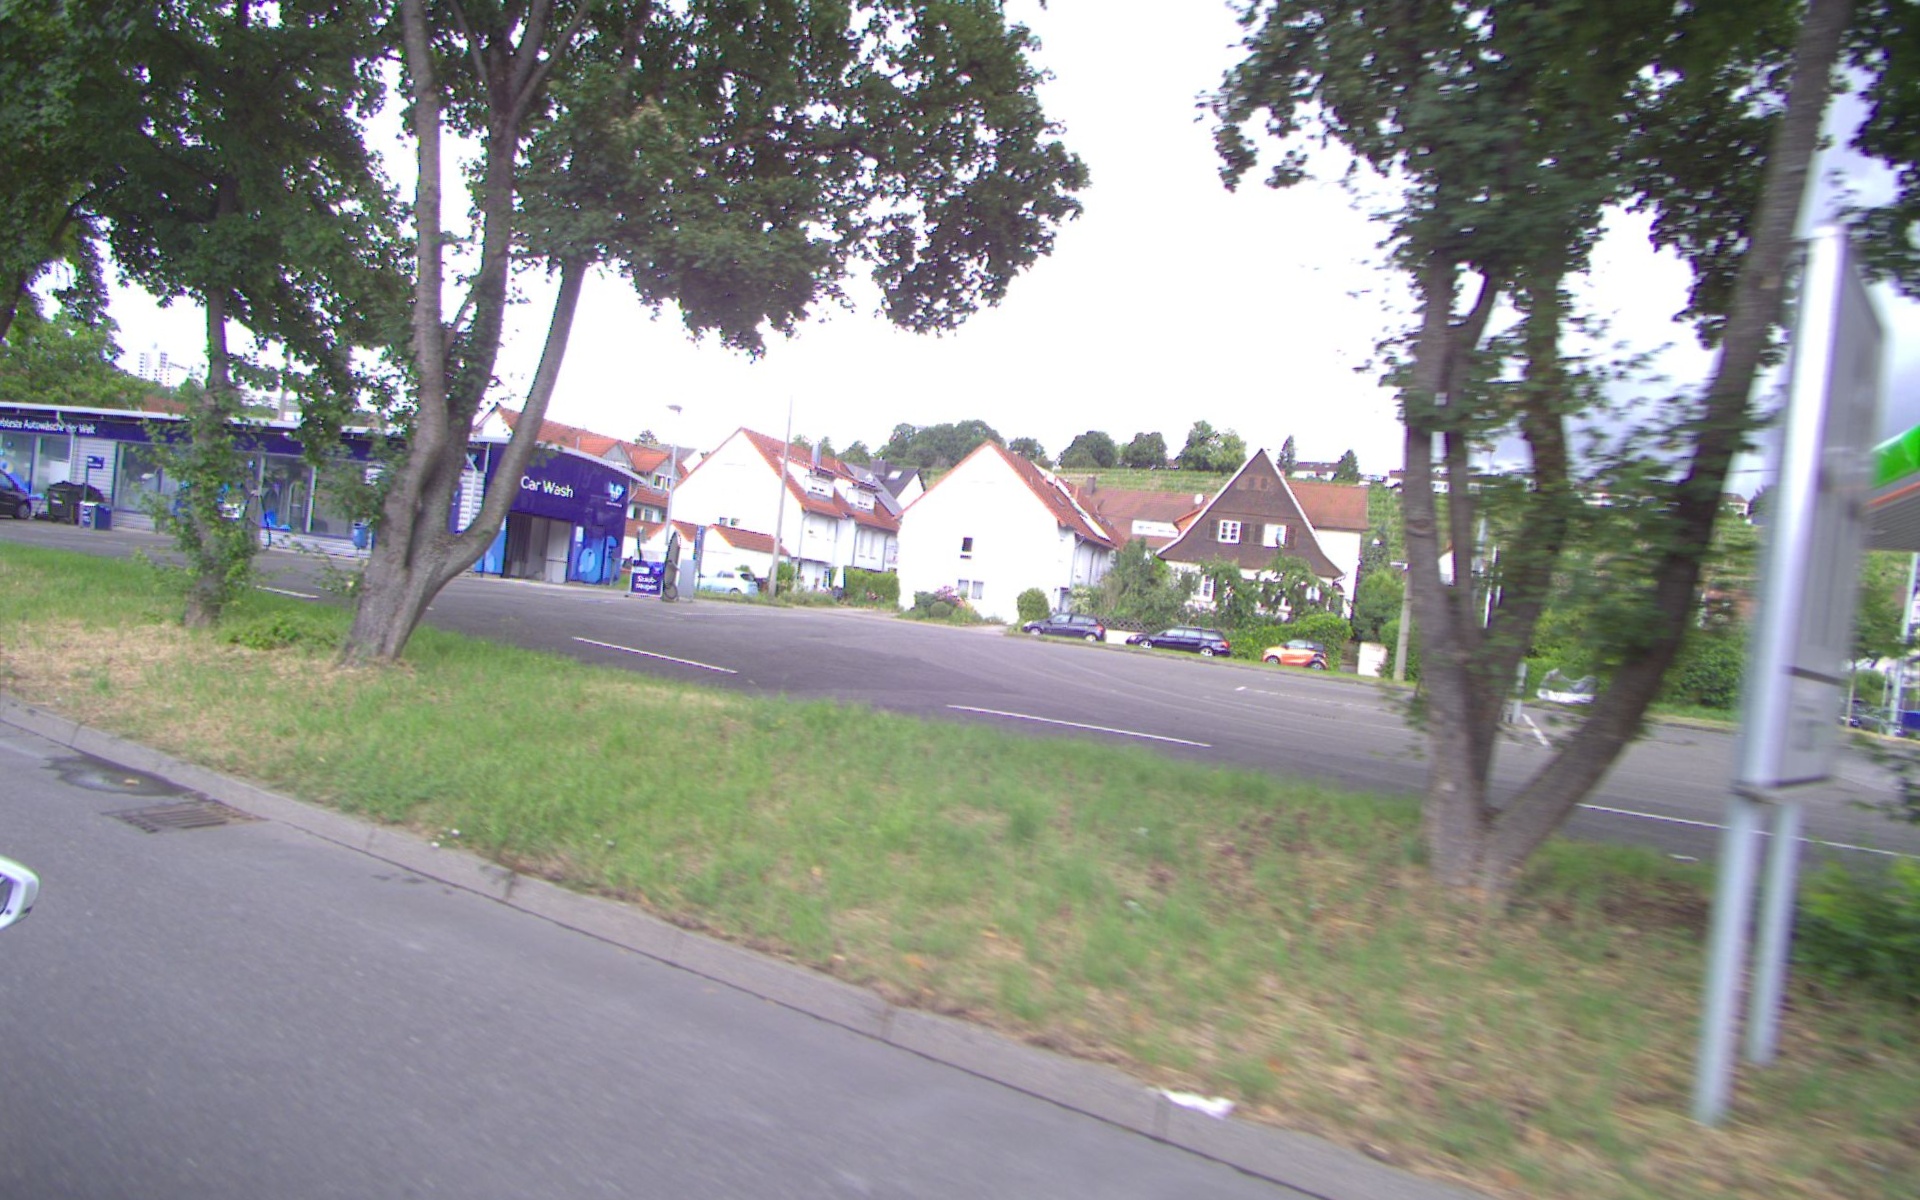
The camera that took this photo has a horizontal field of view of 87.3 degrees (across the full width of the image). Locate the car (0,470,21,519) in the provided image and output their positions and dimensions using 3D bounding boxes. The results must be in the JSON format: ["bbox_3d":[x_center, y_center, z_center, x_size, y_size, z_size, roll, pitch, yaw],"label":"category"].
[{"bbox_3d":[-36.244,-4.016,35.503,1.805,1.719,4.213,7,1,9],"label":"car"}]

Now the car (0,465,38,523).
[{"bbox_3d":[-32.927,-3.672,33.229,1.724,1.844,4.368,6,1,-16],"label":"car"}]

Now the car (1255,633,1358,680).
[{"bbox_3d":[15.007,2.454,43.759,3.924,1.481,2.003,7,-2,15],"label":"car"}]

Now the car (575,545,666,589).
[{"bbox_3d":[-17.443,-1.683,51.780,3.924,1.593,1.788,7,-2,11],"label":"car"}]

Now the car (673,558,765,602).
[{"bbox_3d":[-12.037,-0.990,50.350,3.924,1.593,1.788,7,-2,10],"label":"car"}]

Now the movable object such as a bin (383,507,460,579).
[{"bbox_3d":[-15.462,-1.636,28.905,1.429,1.842,1.161,7,1,23],"label":"movable object such as a bin"}]

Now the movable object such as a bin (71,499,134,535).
[{"bbox_3d":[-29.068,-2.817,34.112,1.167,0.988,1.161,7,1,23],"label":"movable object such as a bin"}]

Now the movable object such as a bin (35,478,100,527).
[{"bbox_3d":[-31.600,-3.457,35.633,1.362,1.493,1.161,7,1,23],"label":"movable object such as a bin"}]

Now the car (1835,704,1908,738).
[{"bbox_3d":[46.525,6.156,51.420,1.640,1.420,3.878,7,-2,27],"label":"car"}]

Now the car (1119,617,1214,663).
[{"bbox_3d":[9.261,1.813,44.985,3.924,1.481,2.003,7,-2,15],"label":"car"}]

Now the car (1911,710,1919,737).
[{"bbox_3d":[57.672,7.426,58.604,1.964,1.557,3.995,7,1,25],"label":"car"}]

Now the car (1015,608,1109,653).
[{"bbox_3d":[4.715,1.405,46.277,3.924,1.481,2.003,7,-2,15],"label":"car"}]
